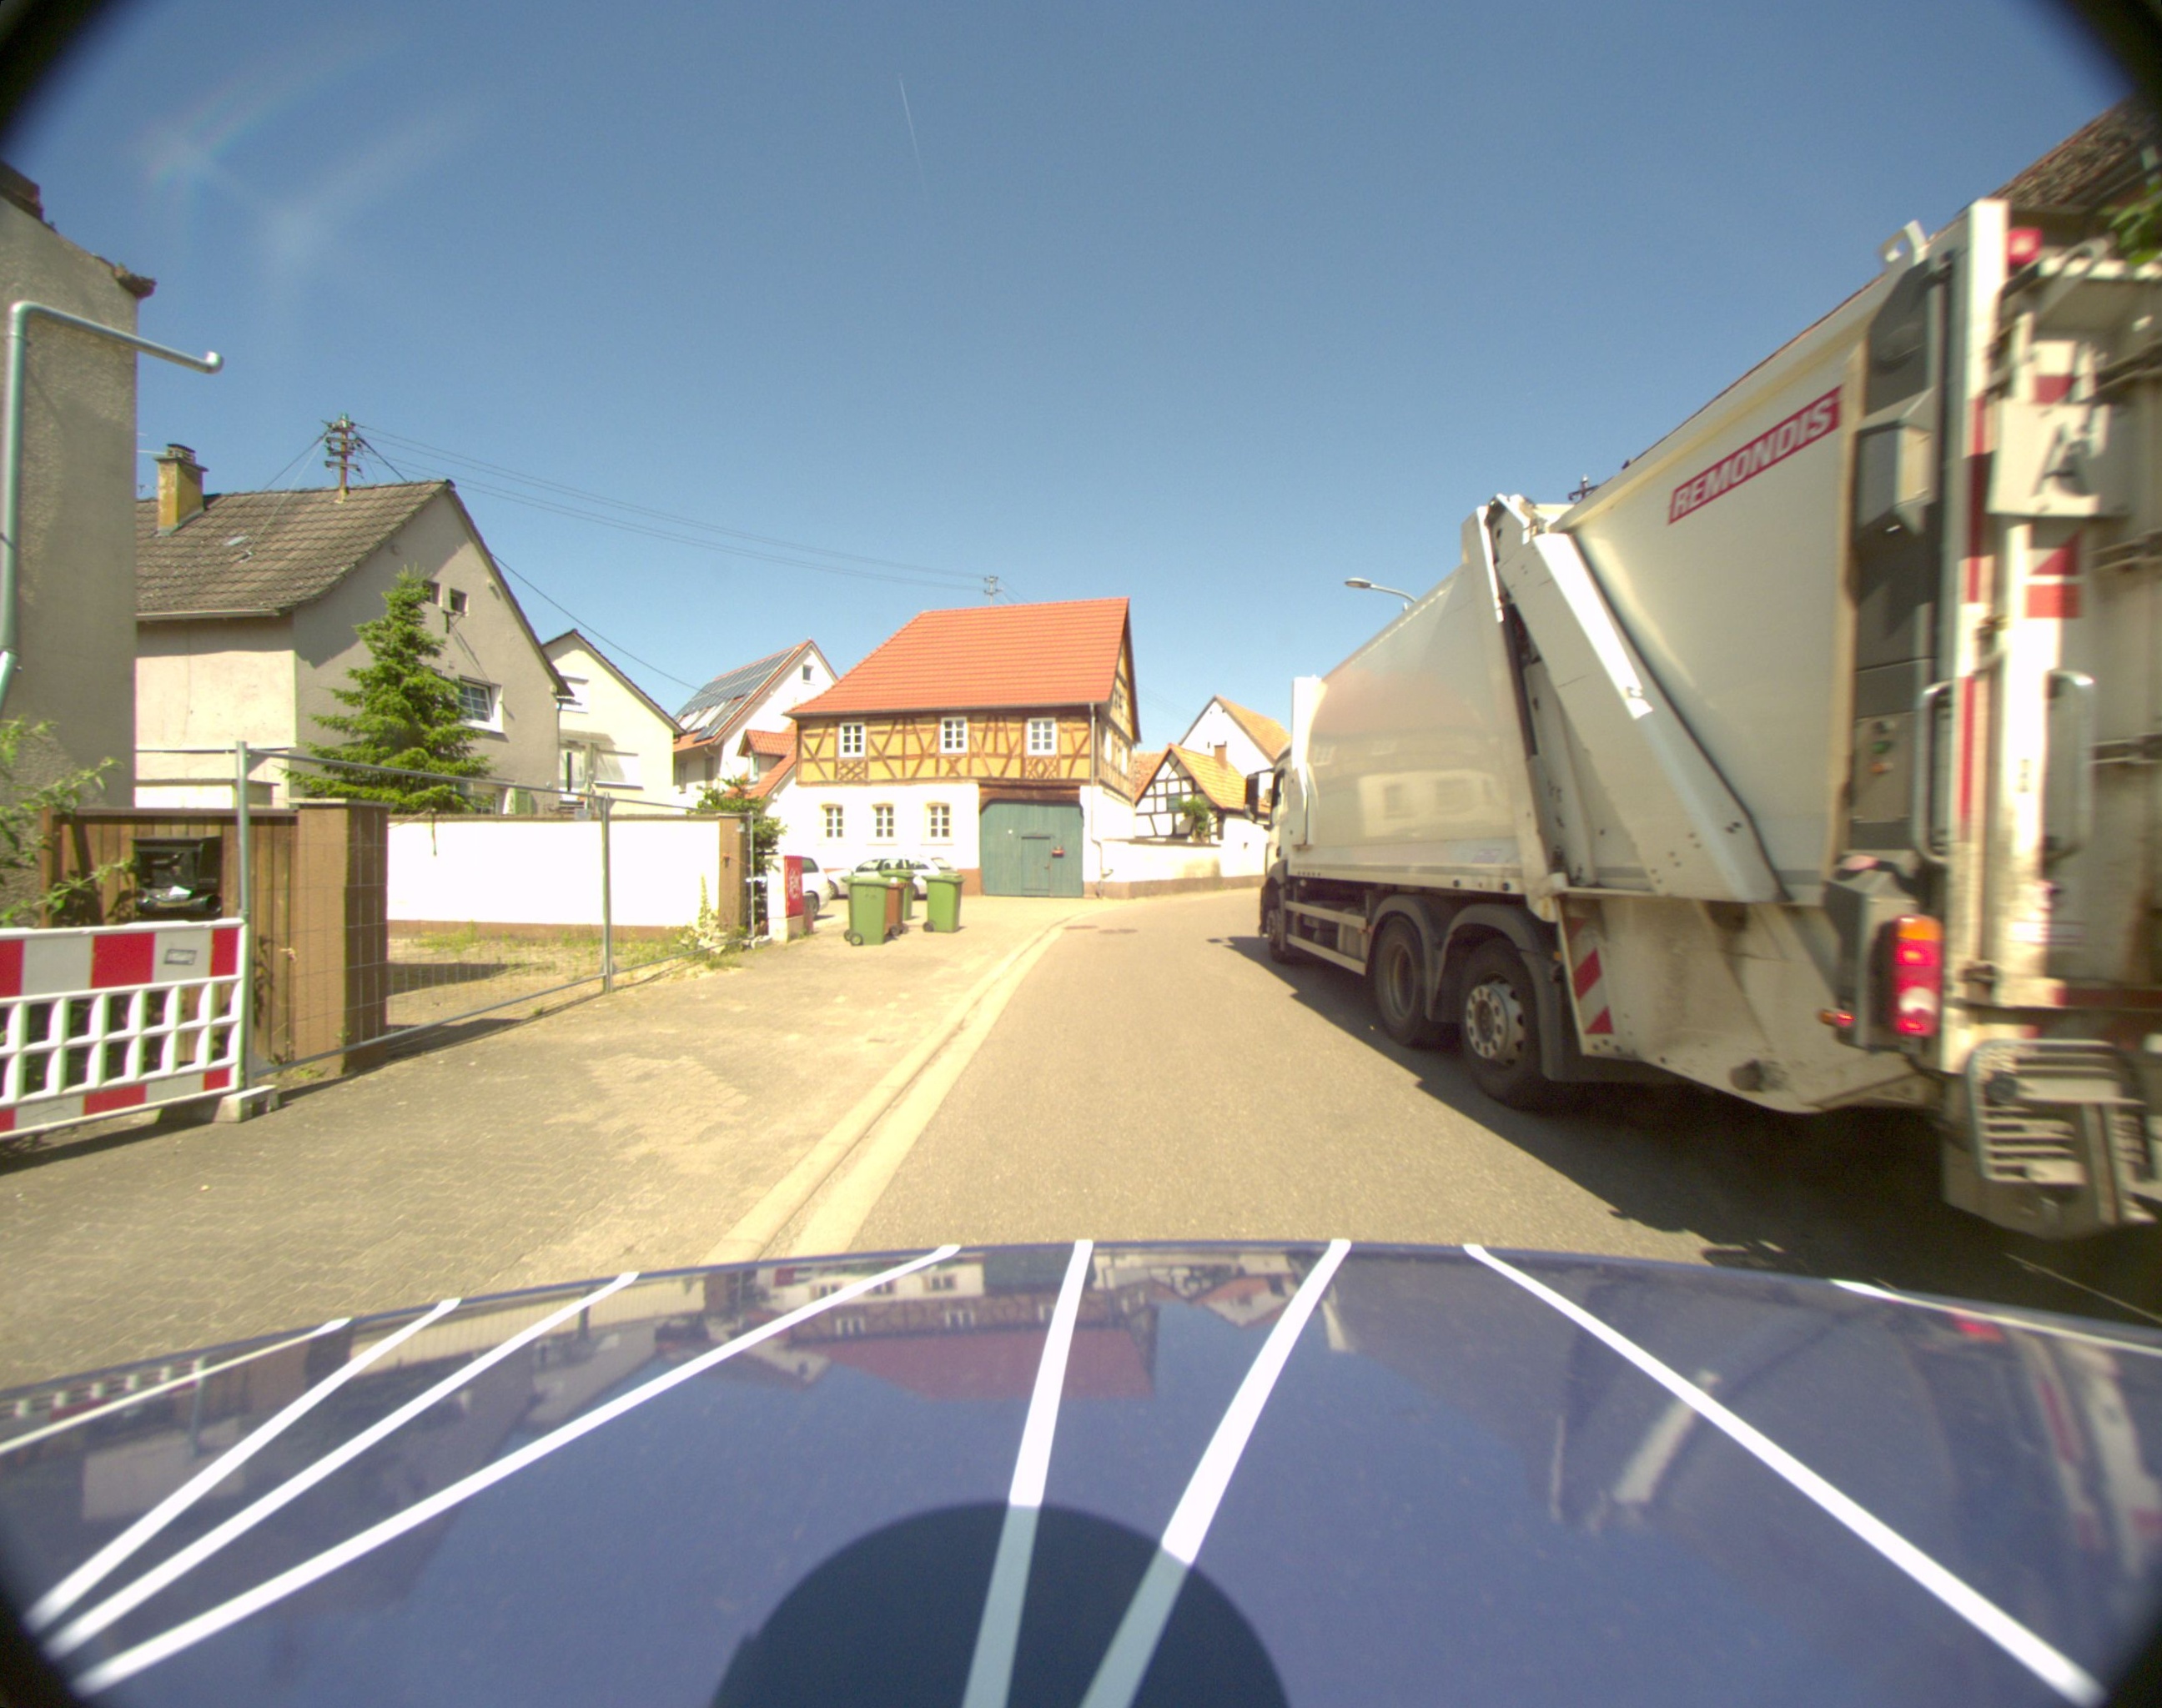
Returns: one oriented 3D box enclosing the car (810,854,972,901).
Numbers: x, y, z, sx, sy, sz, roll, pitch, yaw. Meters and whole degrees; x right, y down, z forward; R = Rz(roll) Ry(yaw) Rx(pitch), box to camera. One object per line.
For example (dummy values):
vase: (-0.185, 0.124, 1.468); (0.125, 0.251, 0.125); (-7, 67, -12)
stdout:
car: (-6.214, 0.748, 25.072); (4.759, 1.443, 2.002); (-1, 0, 13)

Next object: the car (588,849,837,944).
car: (-6.789, 0.694, 14.587); (1.812, 1.519, 4.302); (1, 0, 18)

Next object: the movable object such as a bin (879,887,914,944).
movable object such as a bin: (-3.195, 1.052, 13.159); (0.445, 0.944, 0.463); (0, 1, 11)

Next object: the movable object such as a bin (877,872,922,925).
movable object such as a bin: (-3.880, 0.945, 16.263); (0.721, 1.075, 0.755); (0, 0, 7)

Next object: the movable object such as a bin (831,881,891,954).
movable object such as a bin: (-3.445, 0.973, 11.893); (0.763, 1.066, 0.671); (0, 1, -30)

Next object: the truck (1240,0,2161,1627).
truck: (3.705, -0.293, 6.219); (2.702, 3.728, 10.869); (1, 0, 1)

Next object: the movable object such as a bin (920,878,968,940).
movable object such as a bin: (-2.520, 0.997, 14.010); (0.688, 1.086, 0.638); (1, 1, 10)
